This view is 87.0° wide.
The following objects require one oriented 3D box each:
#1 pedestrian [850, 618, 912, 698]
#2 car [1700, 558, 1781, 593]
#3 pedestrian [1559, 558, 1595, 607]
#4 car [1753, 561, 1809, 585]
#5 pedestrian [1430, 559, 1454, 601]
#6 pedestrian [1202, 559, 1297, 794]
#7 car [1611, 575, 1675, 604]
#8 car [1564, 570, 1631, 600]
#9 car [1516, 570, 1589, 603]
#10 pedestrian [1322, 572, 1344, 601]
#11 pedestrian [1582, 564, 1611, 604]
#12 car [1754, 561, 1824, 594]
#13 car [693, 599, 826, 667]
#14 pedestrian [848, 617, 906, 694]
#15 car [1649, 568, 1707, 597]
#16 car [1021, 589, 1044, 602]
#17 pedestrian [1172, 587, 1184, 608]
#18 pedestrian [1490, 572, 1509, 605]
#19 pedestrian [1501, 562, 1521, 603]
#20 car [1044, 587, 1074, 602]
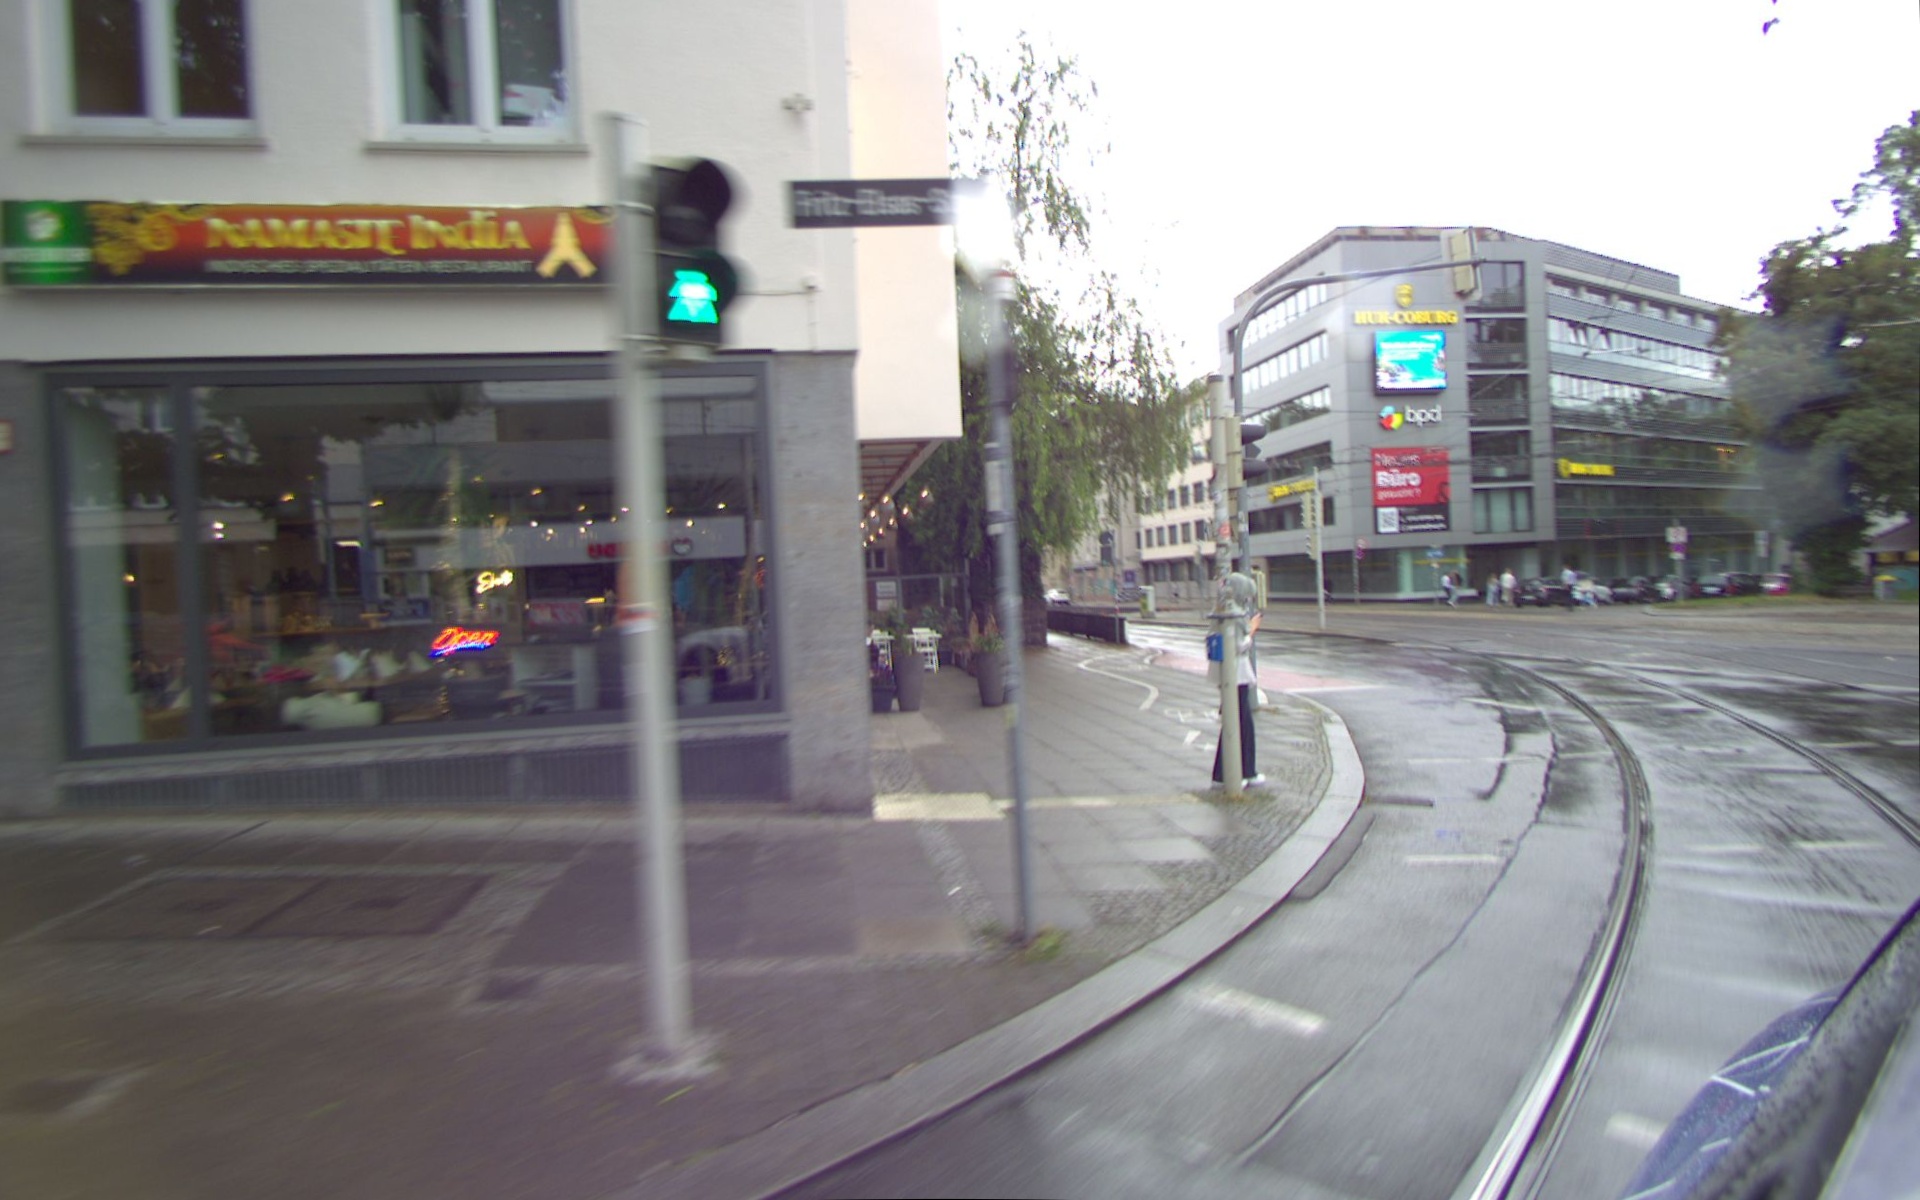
[{"bbox_3d":[-1.249,0.896,15.897,0.913,1.206,0.636,-1,0,-8],"label":"pedestrian"},{"bbox_3d":[35.150,-1.115,45.557,3.470,1.466,1.704,-2,0,-31],"label":"car"},{"bbox_3d":[25.253,-0.728,41.447,0.901,1.885,0.998,-4,1,17],"label":"pedestrian"},{"bbox_3d":[53.181,-1.771,65.528,3.470,1.466,1.704,-2,0,-31],"label":"car"},{"bbox_3d":[24.266,-0.992,50.959,0.650,2.038,0.811,-5,1,-6],"label":"pedestrian"},{"bbox_3d":[2.268,0.563,7.909,0.524,1.734,0.698,-2,0,30],"label":"pedestrian"},{"bbox_3d":[37.269,-0.589,55.200,3.672,1.472,1.702,-2,0,-36],"label":"car"},{"bbox_3d":[33.431,-0.772,53.042,3.672,1.472,1.702,-2,0,-36],"label":"car"},{"bbox_3d":[29.858,-0.682,51.008,3.669,1.570,1.703,-2,0,-33],"label":"car"},{"bbox_3d":[21.775,-0.808,59.126,0.949,1.613,0.589,-5,1,1],"label":"pedestrian"},{"bbox_3d":[27.083,-0.689,43.068,0.908,1.613,0.991,-4,1,37],"label":"pedestrian"},{"bbox_3d":[39.833,-1.089,48.596,3.473,1.466,1.702,-2,0,-35],"label":"car"},{"bbox_3d":[-5.008,0.791,25.604,3.130,1.525,1.804,-2,1,-8],"label":"car"},{"bbox_3d":[-1.362,0.895,16.540,0.900,1.206,0.569,-1,0,-8],"label":"pedestrian"},{"bbox_3d":[41.271,-1.012,58.152,3.474,1.574,1.702,-2,0,-36],"label":"car"},{"bbox_3d":[8.439,-0.483,118.280,1.706,1.474,4.177,0,0,-9],"label":"car"},{"bbox_3d":[17.541,-0.209,81.468,0.537,1.632,0.799,-6,1,-6],"label":"pedestrian"},{"bbox_3d":[27.887,-0.603,52.272,0.579,1.613,0.634,-4,1,8],"label":"pedestrian"},{"bbox_3d":[28.019,-0.897,51.434,0.614,2.038,0.653,-4,1,43],"label":"pedestrian"},{"bbox_3d":[10.394,-0.573,106.889,1.959,1.556,4.756,0,0,-9],"label":"car"}]
